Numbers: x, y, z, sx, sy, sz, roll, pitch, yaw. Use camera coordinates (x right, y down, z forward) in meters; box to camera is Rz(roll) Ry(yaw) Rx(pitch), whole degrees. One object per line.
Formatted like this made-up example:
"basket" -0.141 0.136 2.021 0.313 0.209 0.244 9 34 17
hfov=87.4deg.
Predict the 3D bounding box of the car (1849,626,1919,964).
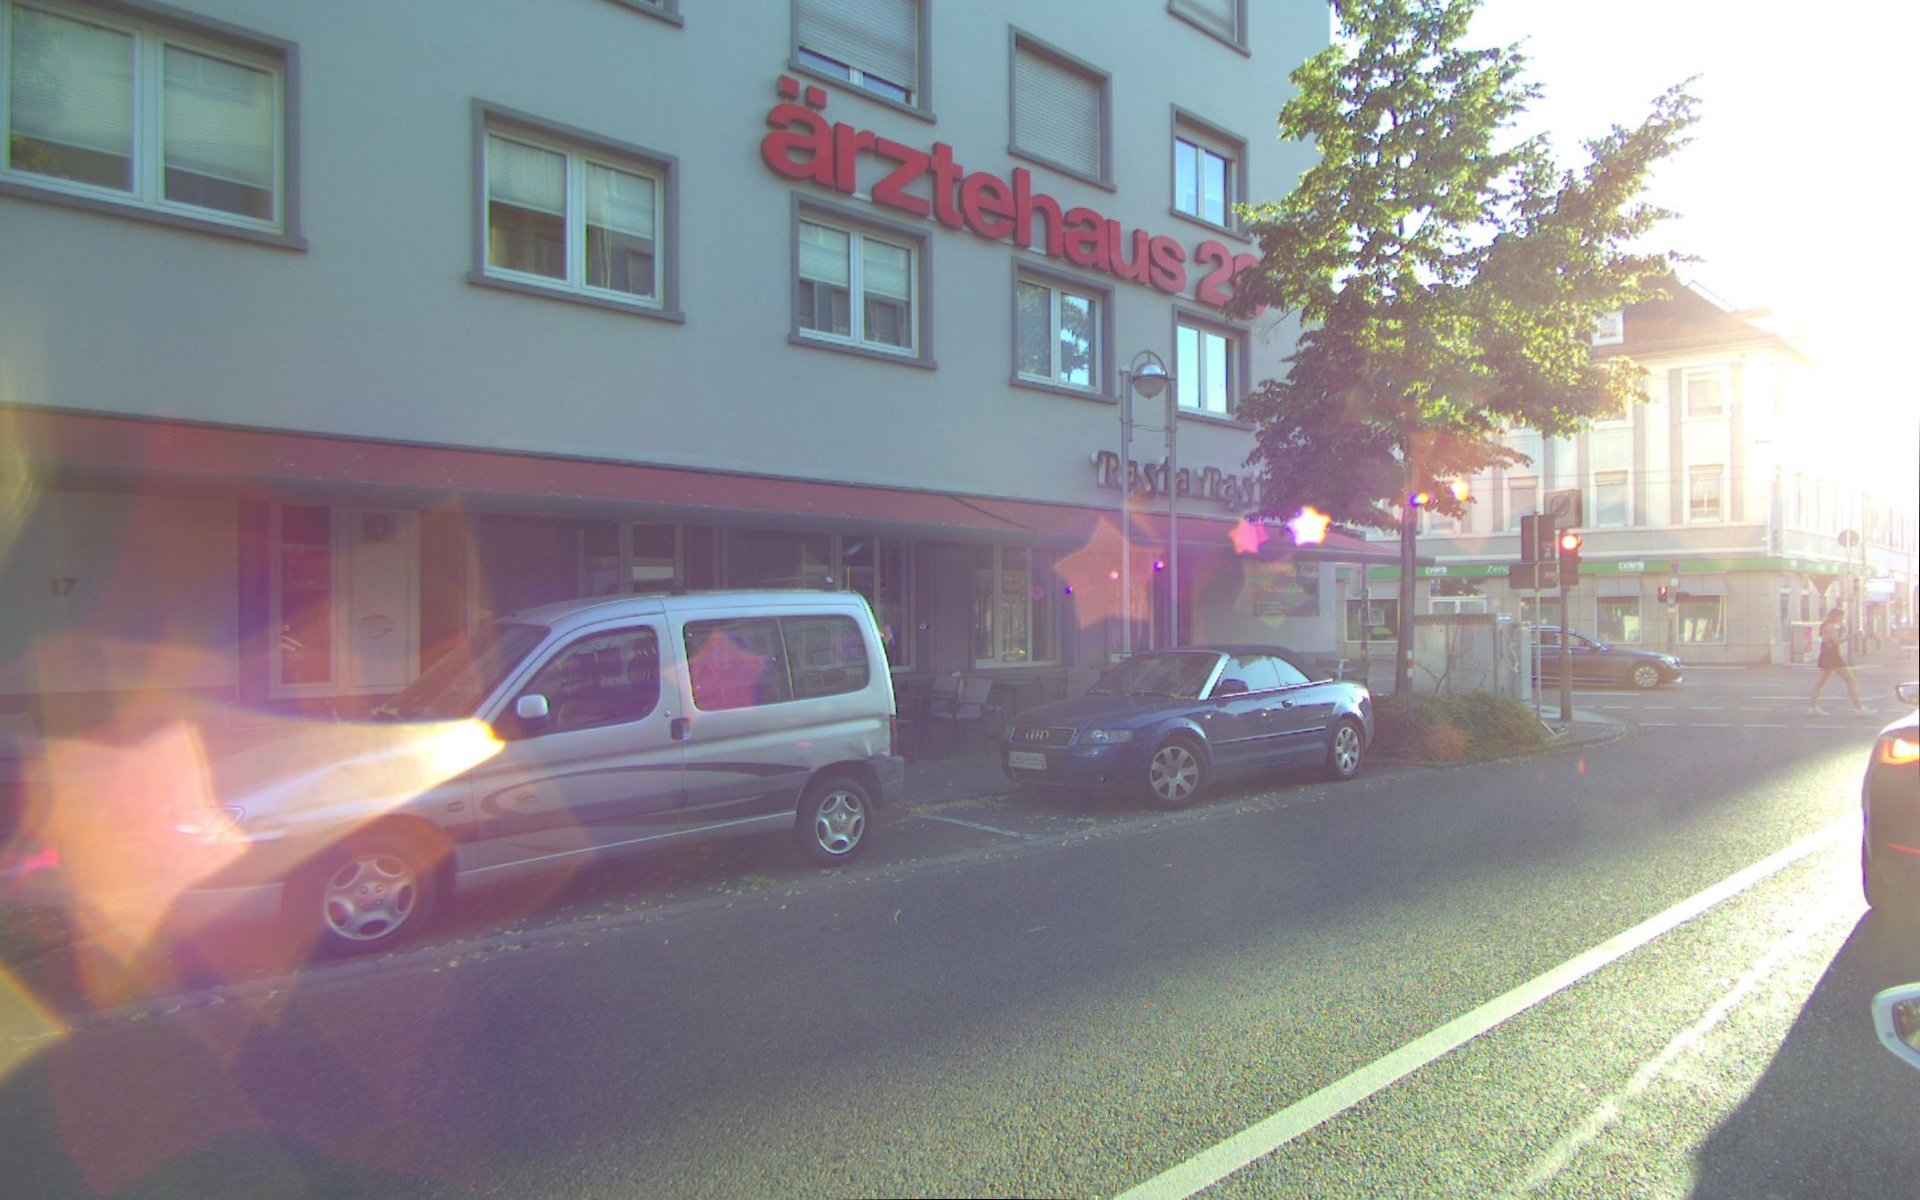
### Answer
"car" 6.143 0.874 5.165 4.188 1.448 1.723 1 0 -39

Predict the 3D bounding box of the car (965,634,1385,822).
"car" 2.224 1.079 9.773 4.244 1.434 1.710 1 -4 -39

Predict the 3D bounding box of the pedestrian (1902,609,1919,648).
"pedestrian" 47.237 1.395 49.818 0.626 1.901 0.638 1 1 -38

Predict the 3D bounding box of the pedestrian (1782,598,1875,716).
"pedestrian" 14.333 0.933 16.608 0.987 1.885 0.638 -3 -2 32

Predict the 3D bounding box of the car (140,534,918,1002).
"car" -2.345 0.760 6.089 4.022 1.912 1.655 1 -4 -41

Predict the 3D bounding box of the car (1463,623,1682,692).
"car" 14.527 1.317 24.125 4.339 1.493 1.815 -1 0 28
